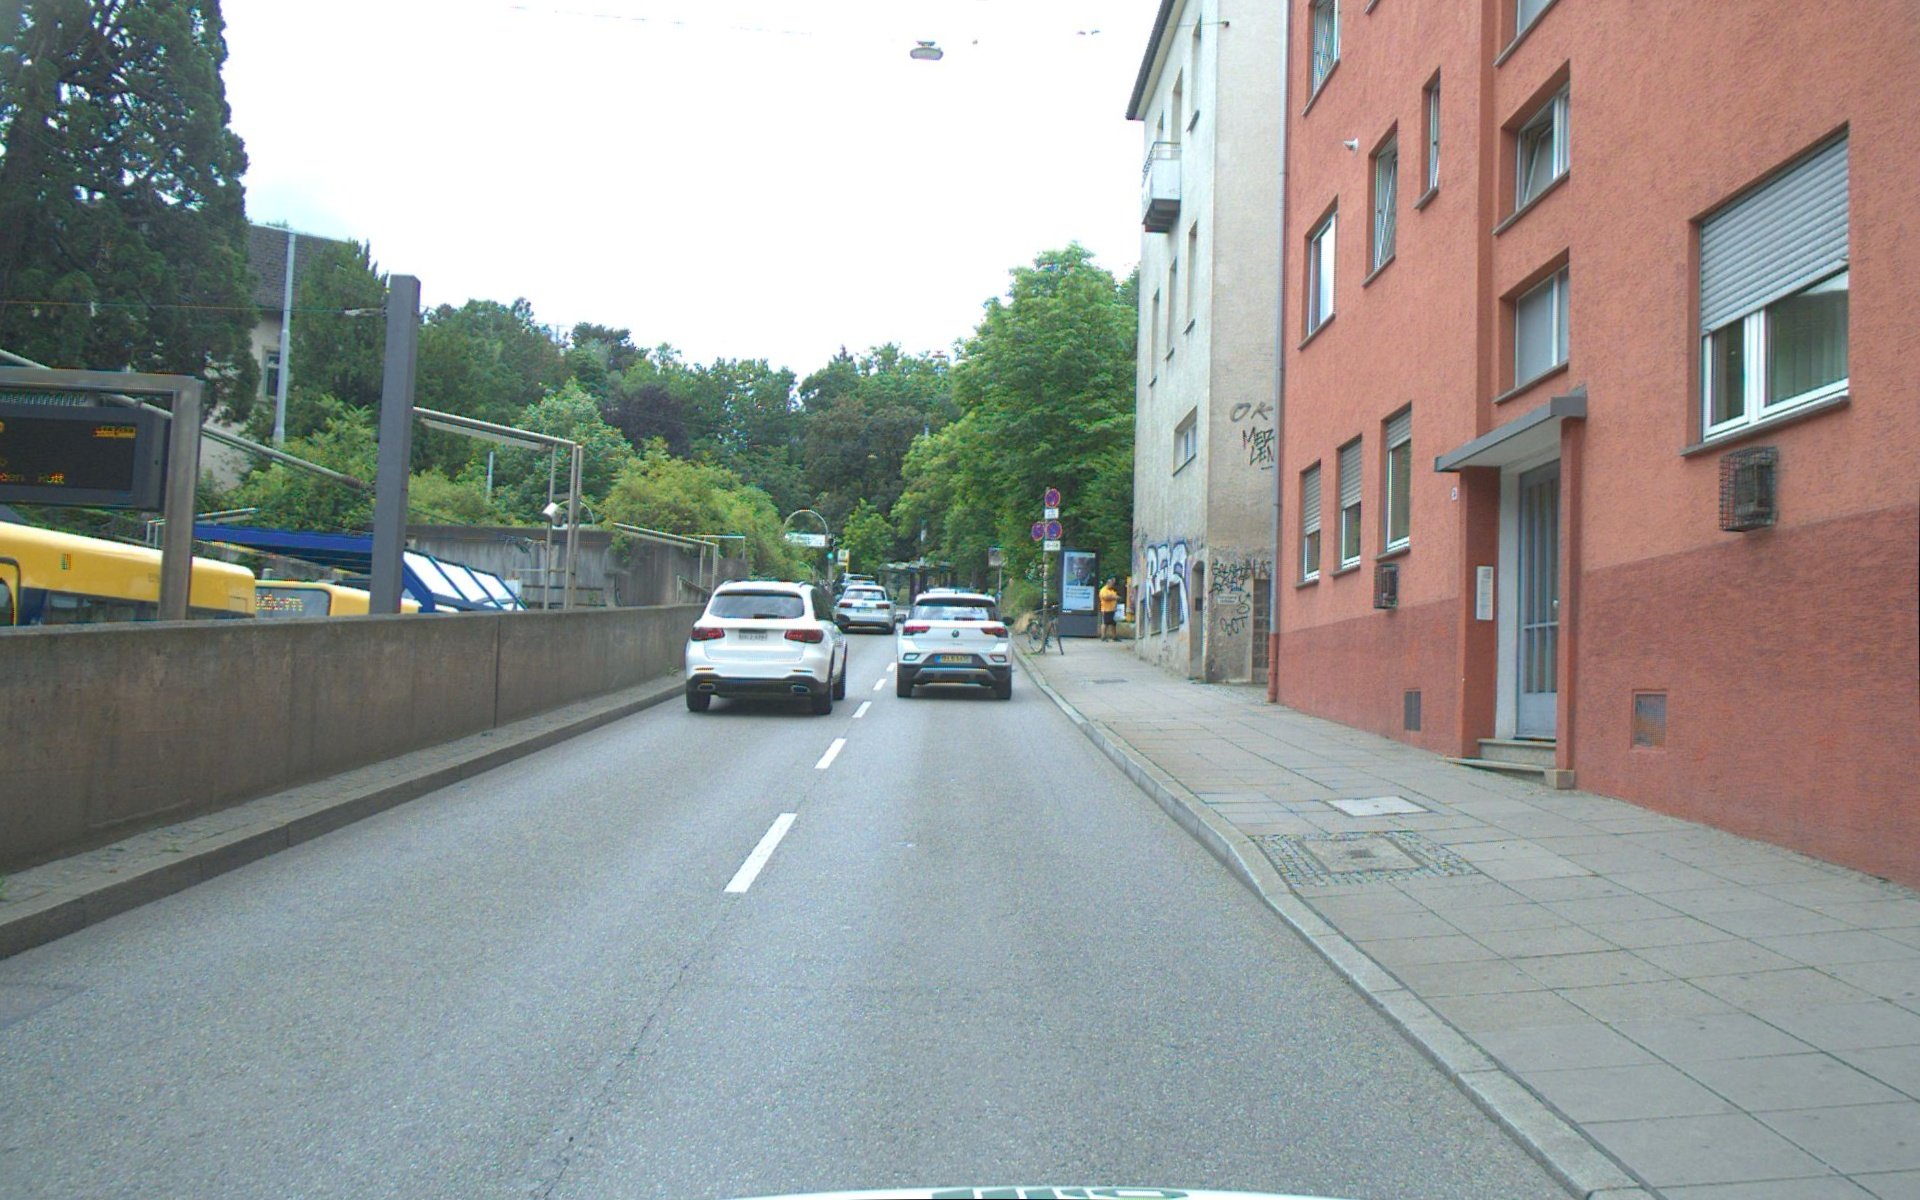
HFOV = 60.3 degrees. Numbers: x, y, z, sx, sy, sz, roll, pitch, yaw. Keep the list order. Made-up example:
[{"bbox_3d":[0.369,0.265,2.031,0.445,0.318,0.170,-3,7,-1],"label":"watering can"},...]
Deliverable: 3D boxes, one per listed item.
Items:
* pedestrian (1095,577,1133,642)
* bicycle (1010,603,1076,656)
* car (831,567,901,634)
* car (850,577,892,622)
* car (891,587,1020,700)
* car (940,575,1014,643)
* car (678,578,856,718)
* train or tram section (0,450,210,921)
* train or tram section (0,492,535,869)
[{"bbox_3d":[4.189,0.252,45.025,0.819,1.742,0.818,0,0,-14],"label":"pedestrian"},{"bbox_3d":[1.883,0.656,37.959,0.630,1.163,2.049,1,0,-25],"label":"bicycle"},{"bbox_3d":[-2.927,0.004,52.167,1.953,1.914,3.999,3,0,-1],"label":"car"},{"bbox_3d":[-4.144,-0.032,77.189,1.714,1.914,3.999,3,0,-1],"label":"car"},{"bbox_3d":[-0.031,0.630,25.844,1.826,1.583,3.895,1,0,1],"label":"car"},{"bbox_3d":[0.430,0.229,43.800,1.823,1.660,3.959,2,0,0],"label":"car"},{"bbox_3d":[-2.473,0.579,22.166,1.838,1.681,4.341,0,0,0],"label":"car"},{"bbox_3d":[-8.626,0.518,9.742,2.889,3.545,12.214,1,-2,-1],"label":"train or tram section"},{"bbox_3d":[-8.804,0.930,22.352,2.889,3.570,12.982,1,-2,-1],"label":"train or tram section"}]
